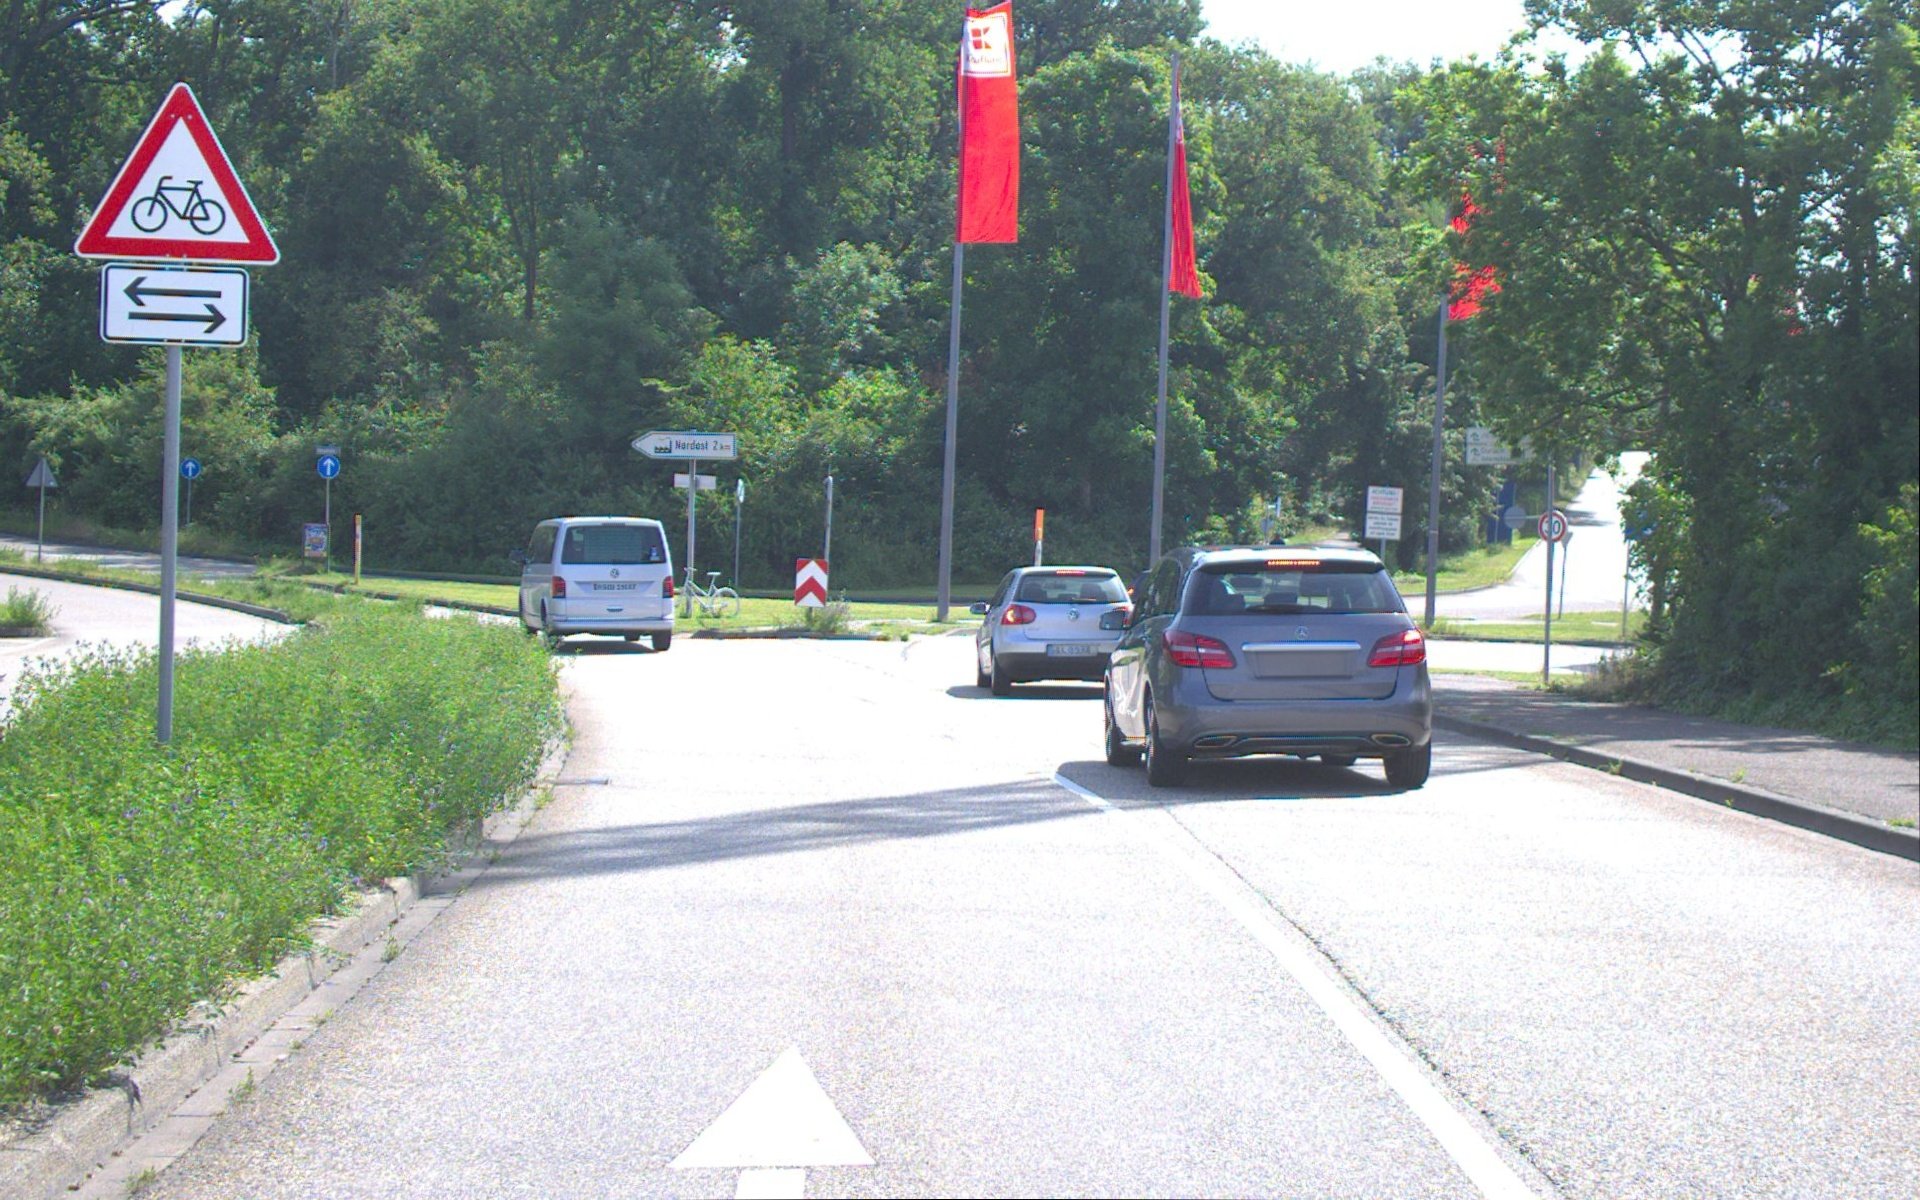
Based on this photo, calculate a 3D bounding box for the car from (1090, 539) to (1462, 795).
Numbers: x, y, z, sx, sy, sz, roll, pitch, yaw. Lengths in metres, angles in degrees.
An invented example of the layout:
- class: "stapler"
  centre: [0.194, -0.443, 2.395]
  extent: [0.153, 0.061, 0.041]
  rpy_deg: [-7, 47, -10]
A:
- class: "car"
  centre: [1.995, 0.402, 22.882]
  extent: [1.856, 1.524, 4.144]
  rpy_deg: [1, 0, -3]

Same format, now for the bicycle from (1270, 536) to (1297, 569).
- class: "bicycle"
  centre: [11.117, -1.648, 118.246]
  extent: [0.724, 0.974, 2.186]
  rpy_deg: [3, 4, 9]

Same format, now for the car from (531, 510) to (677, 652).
- class: "car"
  centre: [-5.288, -0.322, 51.492]
  extent: [2.039, 2.007, 4.001]
  rpy_deg: [1, 1, -5]

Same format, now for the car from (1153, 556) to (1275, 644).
- class: "car"
  centre: [4.485, -0.025, 60.284]
  extent: [1.774, 1.327, 3.739]
  rpy_deg: [4, 2, 8]

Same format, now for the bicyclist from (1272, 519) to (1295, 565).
- class: "bicyclist"
  centre: [11.131, -1.995, 118.189]
  extent: [0.675, 1.528, 0.846]
  rpy_deg: [2, 4, 9]

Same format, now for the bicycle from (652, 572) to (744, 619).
- class: "bicycle"
  centre: [-4.987, -0.082, 65.571]
  extent: [1.783, 0.886, 0.271]
  rpy_deg: [0, 2, -29]

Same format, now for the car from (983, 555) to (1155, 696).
- class: "car"
  centre: [1.214, 0.267, 39.921]
  extent: [1.856, 1.524, 4.144]
  rpy_deg: [1, 0, 0]
